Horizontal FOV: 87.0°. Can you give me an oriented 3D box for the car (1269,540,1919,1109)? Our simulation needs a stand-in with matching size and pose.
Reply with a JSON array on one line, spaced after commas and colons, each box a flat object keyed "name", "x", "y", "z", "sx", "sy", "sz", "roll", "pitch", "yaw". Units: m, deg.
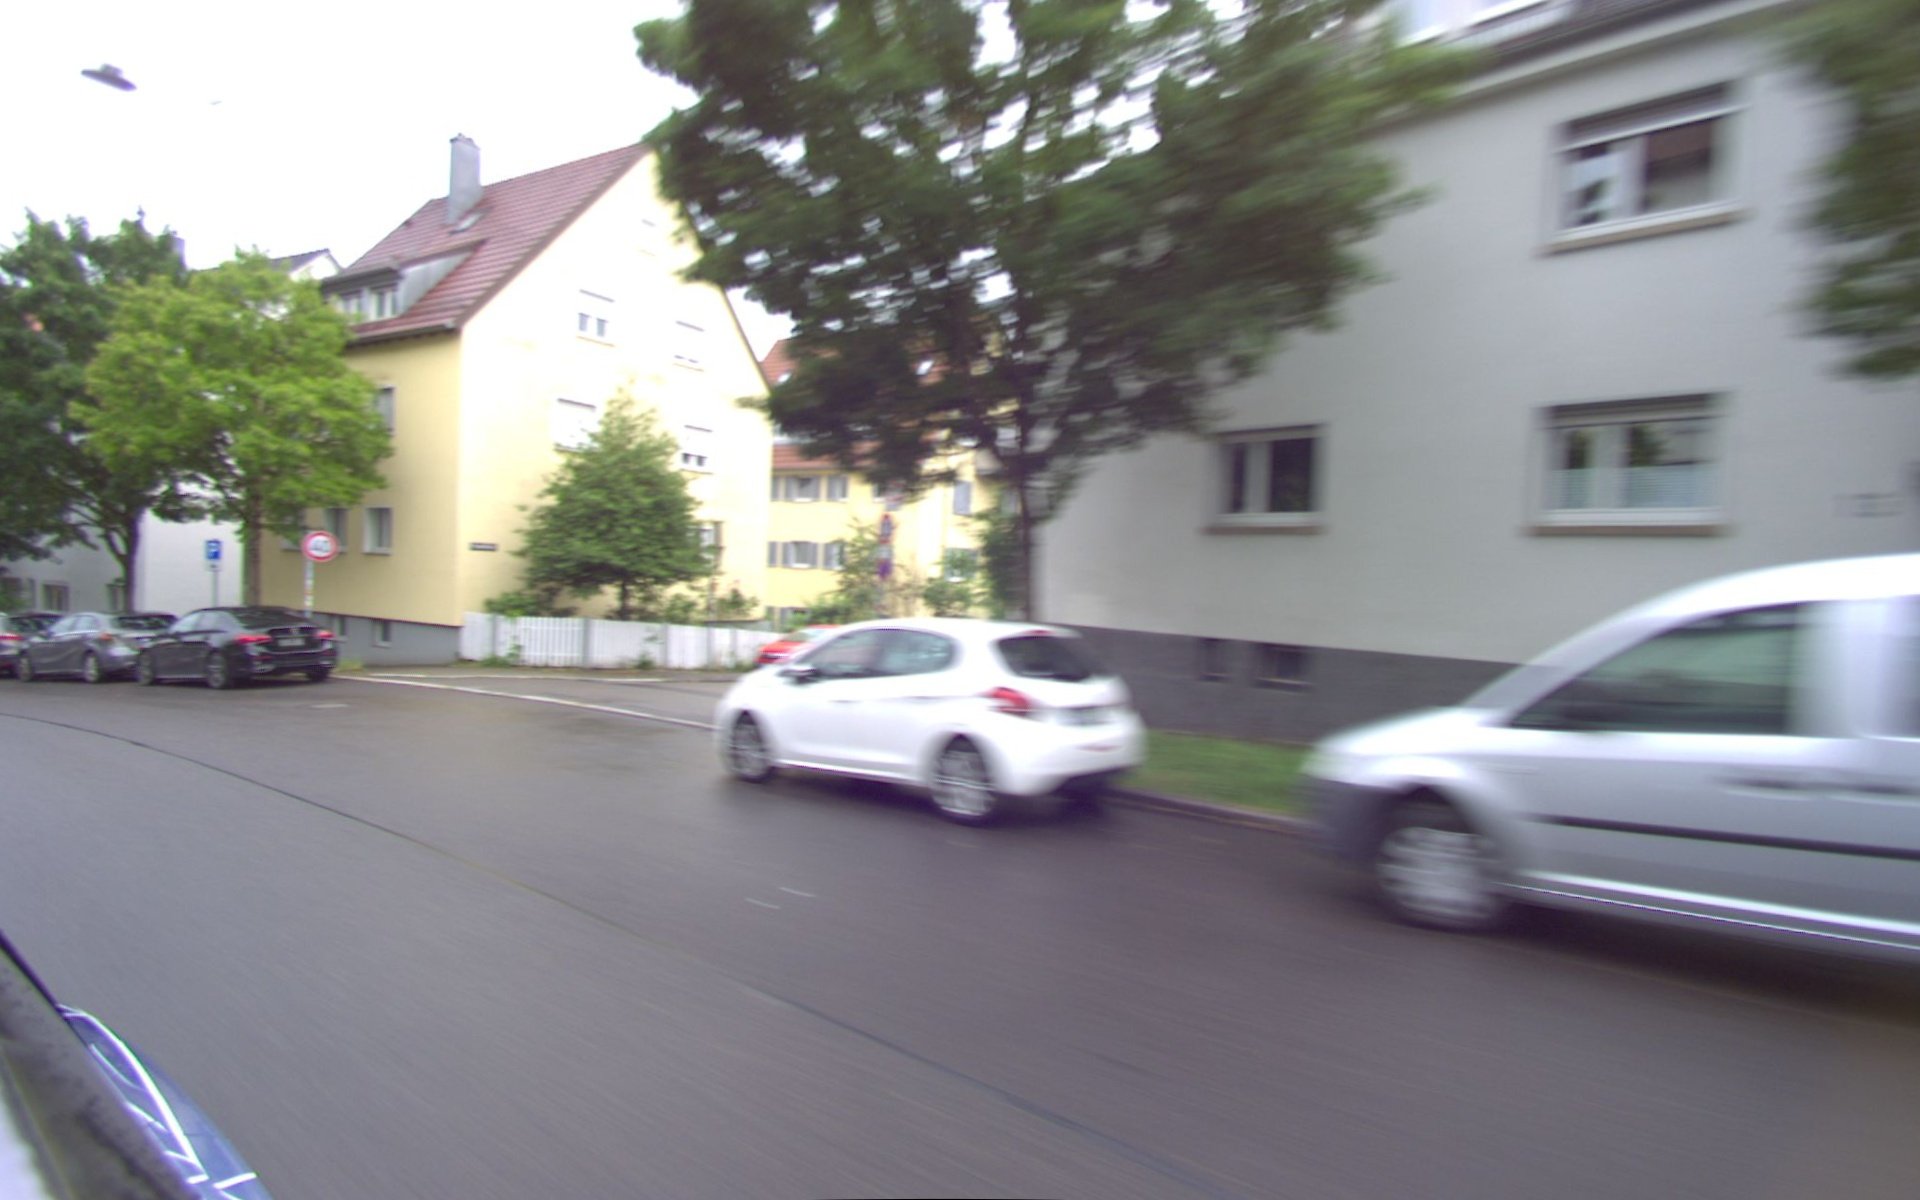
[{"name": "car", "x": 3.897, "y": 0.775, "z": 4.408, "sx": 1.892, "sy": 2.016, "sz": 4.551, "roll": -2, "pitch": 2, "yaw": -45}]

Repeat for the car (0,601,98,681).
[{"name": "car", "x": -22.106, "y": 0.914, "z": 23.257, "sx": 4.529, "sy": 1.703, "sz": 1.844, "roll": -1, "pitch": -1, "yaw": 26}]

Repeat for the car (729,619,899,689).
[{"name": "car", "x": -3.440, "y": 1.351, "z": 24.595, "sx": 1.993, "sy": 1.455, "sz": 3.957, "roll": 1, "pitch": -4, "yaw": 31}]

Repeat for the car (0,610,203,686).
[{"name": "car", "x": -17.663, "y": 0.960, "z": 20.764, "sx": 4.298, "sy": 1.407, "sz": 1.605, "roll": -1, "pitch": 0, "yaw": 26}]

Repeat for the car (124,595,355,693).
[{"name": "car", "x": -13.146, "y": 0.733, "z": 18.404, "sx": 4.500, "sy": 1.552, "sz": 1.762, "roll": -1, "pitch": 1, "yaw": 31}]

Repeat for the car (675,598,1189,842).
[{"name": "car", "x": -0.434, "y": 0.807, "z": 8.657, "sx": 4.345, "sy": 1.526, "sz": 1.765, "roll": 1, "pitch": -2, "yaw": 42}]

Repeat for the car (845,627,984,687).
[{"name": "car", "x": -1.187, "y": 1.622, "z": 28.315, "sx": 1.993, "sy": 1.455, "sz": 3.957, "roll": 1, "pitch": -4, "yaw": 31}]
